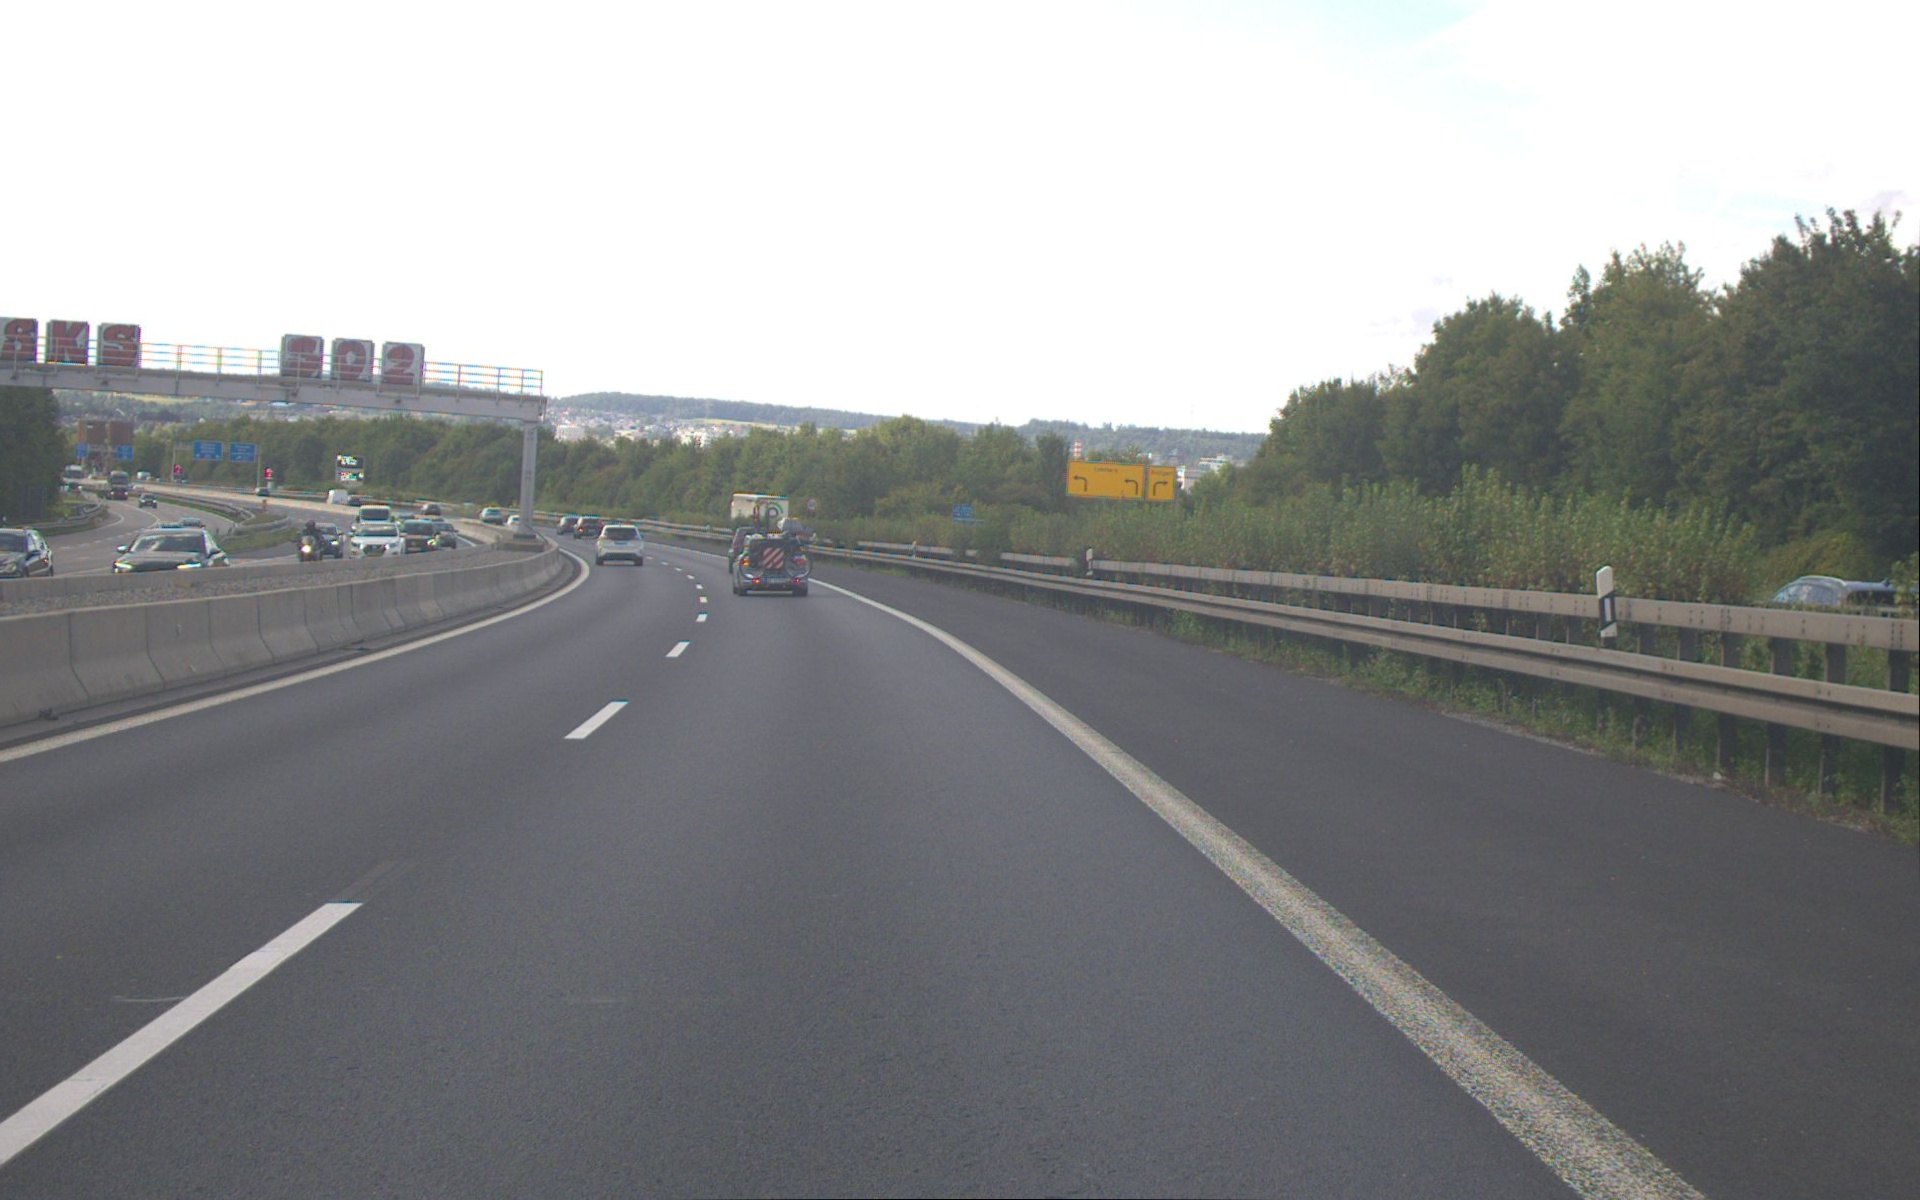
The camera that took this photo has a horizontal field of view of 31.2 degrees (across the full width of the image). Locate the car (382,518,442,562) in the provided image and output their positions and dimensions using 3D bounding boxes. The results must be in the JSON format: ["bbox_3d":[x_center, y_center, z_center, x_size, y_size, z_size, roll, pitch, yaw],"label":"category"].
[{"bbox_3d":[-22.108,-2.431,138.783,1.876,1.692,4.315,1,1,-3],"label":"car"}]

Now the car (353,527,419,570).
[{"bbox_3d":[-20.169,-1.819,120.979,1.760,1.455,4.296,1,1,-3],"label":"car"}]

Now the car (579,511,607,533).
[{"bbox_3d":[-26.956,-5.744,252.180,1.604,1.552,4.001,1,0,-12],"label":"car"}]

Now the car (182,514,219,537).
[{"bbox_3d":[-45.113,-4.429,204.253,1.822,1.307,4.189,1,1,-8],"label":"car"}]

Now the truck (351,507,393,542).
[{"bbox_3d":[-37.788,-4.842,221.040,2.183,2.218,5.572,1,1,-5],"label":"truck"}]

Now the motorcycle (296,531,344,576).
[{"bbox_3d":[-17.223,-1.264,92.515,0.922,1.184,2.640,1,1,-3],"label":"motorcycle"}]

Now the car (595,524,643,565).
[{"bbox_3d":[-14.437,-2.351,145.686,1.993,1.678,4.001,1,0,-5],"label":"car"}]

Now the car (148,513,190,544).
[{"bbox_3d":[-41.970,-3.800,182.432,1.804,1.568,4.560,1,1,-8],"label":"car"}]

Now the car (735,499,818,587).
[{"bbox_3d":[-4.680,-1.484,87.984,2.030,2.144,4.001,1,2,-3],"label":"car"}]

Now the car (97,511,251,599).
[{"bbox_3d":[-15.235,-0.873,66.850,1.993,1.621,4.778,1,0,-1],"label":"car"}]

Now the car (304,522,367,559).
[{"bbox_3d":[-26.523,-2.539,146.204,1.993,1.534,4.740,1,1,-3],"label":"car"}]

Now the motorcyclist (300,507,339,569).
[{"bbox_3d":[-17.209,-1.669,92.391,0.895,1.628,0.922,1,1,-2],"label":"motorcyclist"}]

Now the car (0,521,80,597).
[{"bbox_3d":[-19.685,-0.878,71.418,1.914,1.504,4.001,1,1,-2],"label":"car"}]

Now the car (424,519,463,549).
[{"bbox_3d":[-26.890,-3.448,179.028,1.698,1.534,4.502,1,1,-5],"label":"car"}]
